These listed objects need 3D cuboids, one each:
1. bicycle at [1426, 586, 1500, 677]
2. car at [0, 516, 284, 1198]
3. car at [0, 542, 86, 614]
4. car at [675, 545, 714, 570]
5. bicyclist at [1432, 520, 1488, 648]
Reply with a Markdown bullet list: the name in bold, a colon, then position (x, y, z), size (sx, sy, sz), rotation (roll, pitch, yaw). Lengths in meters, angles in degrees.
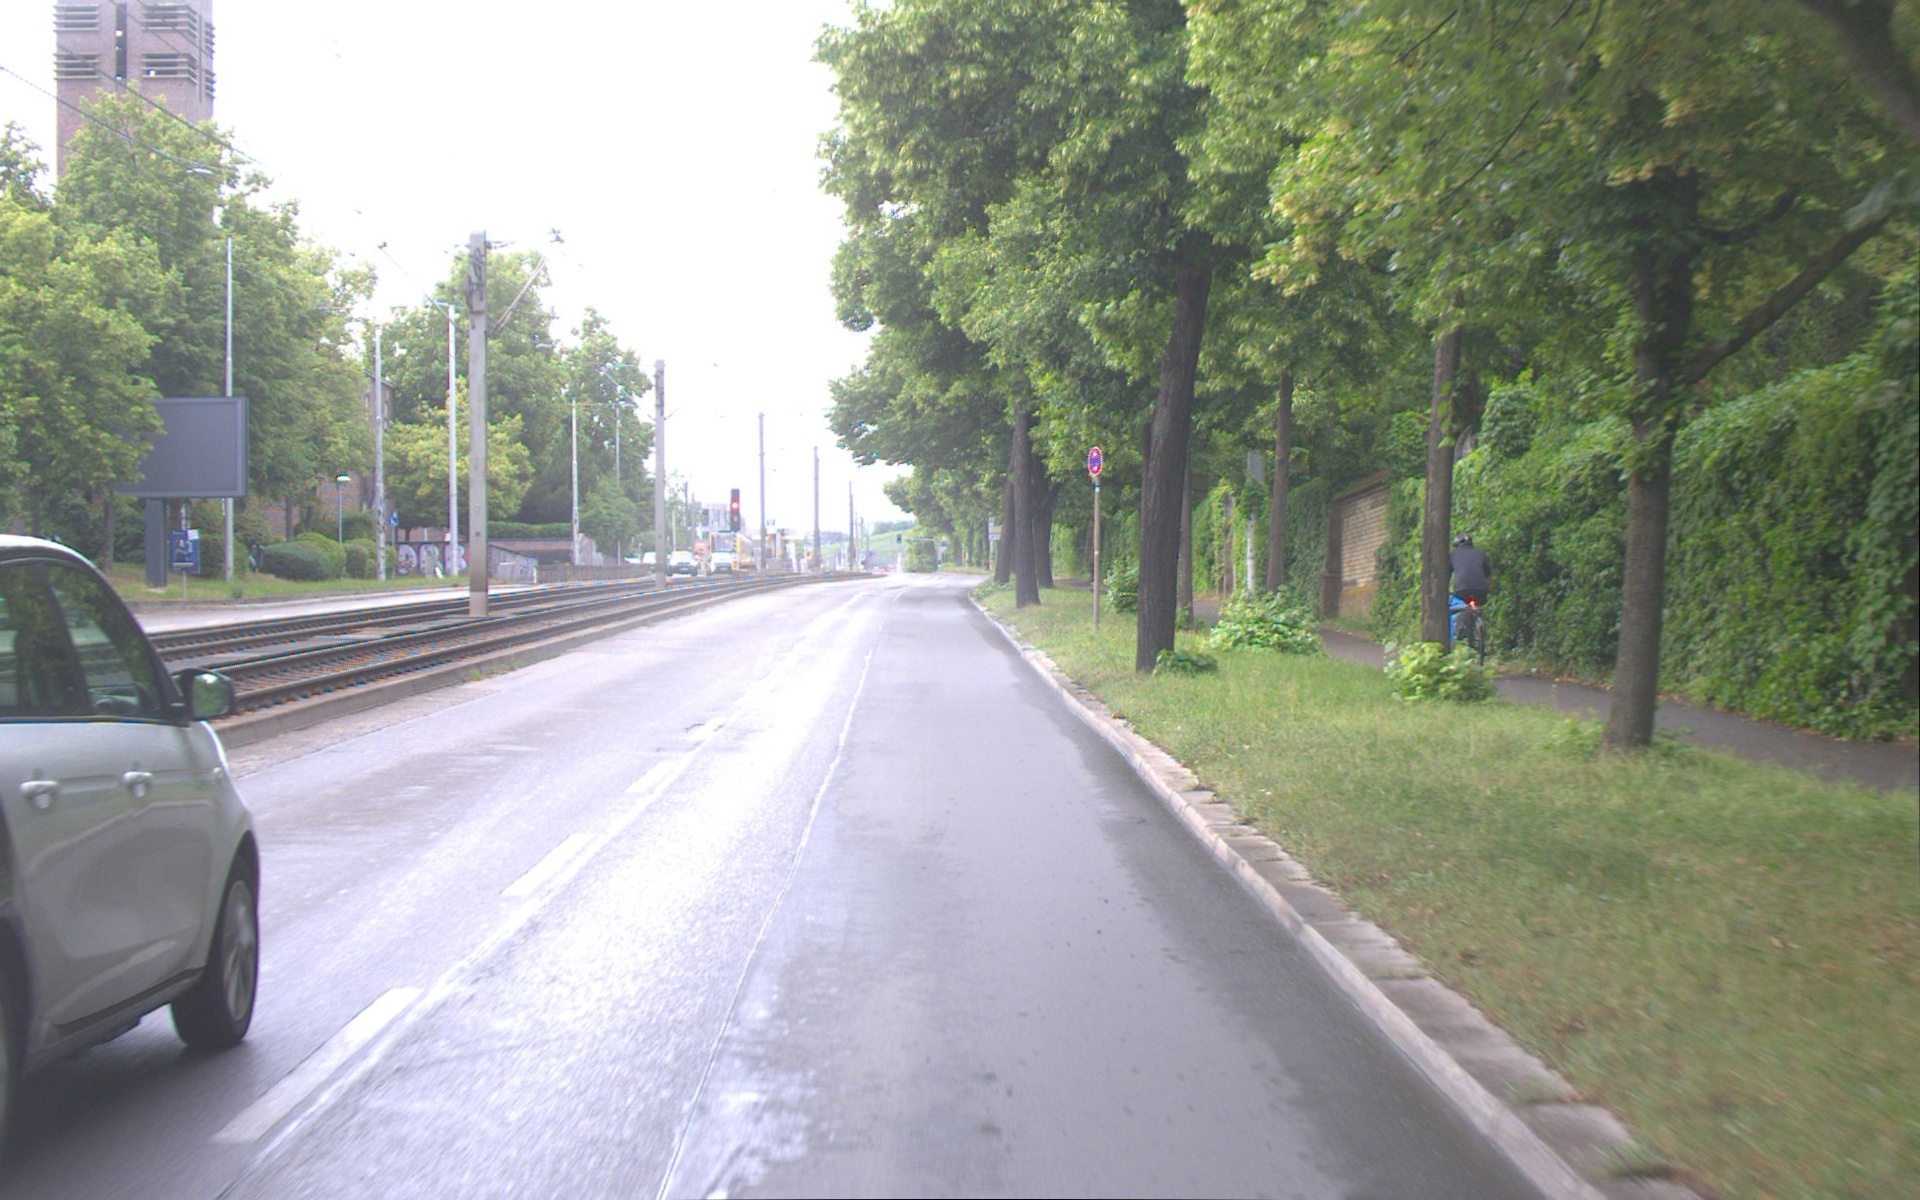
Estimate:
- **bicycle**: position (5.479, 0.326, 37.549), size (0.543, 0.945, 2.549), rotation (0, 1, 3)
- **car**: position (-2.977, 0.551, 8.944), size (1.676, 1.525, 3.722), rotation (0, 1, 0)
- **car**: position (-20.622, -0.504, 75.586), size (1.794, 1.525, 4.622), rotation (0, 1, -2)
- **car**: position (-17.695, -2.814, 229.104), size (2.013, 1.650, 4.616), rotation (0, 1, 3)
- **bicyclist**: position (5.486, -0.180, 37.724), size (0.535, 1.385, 0.666), rotation (0, 1, 2)
